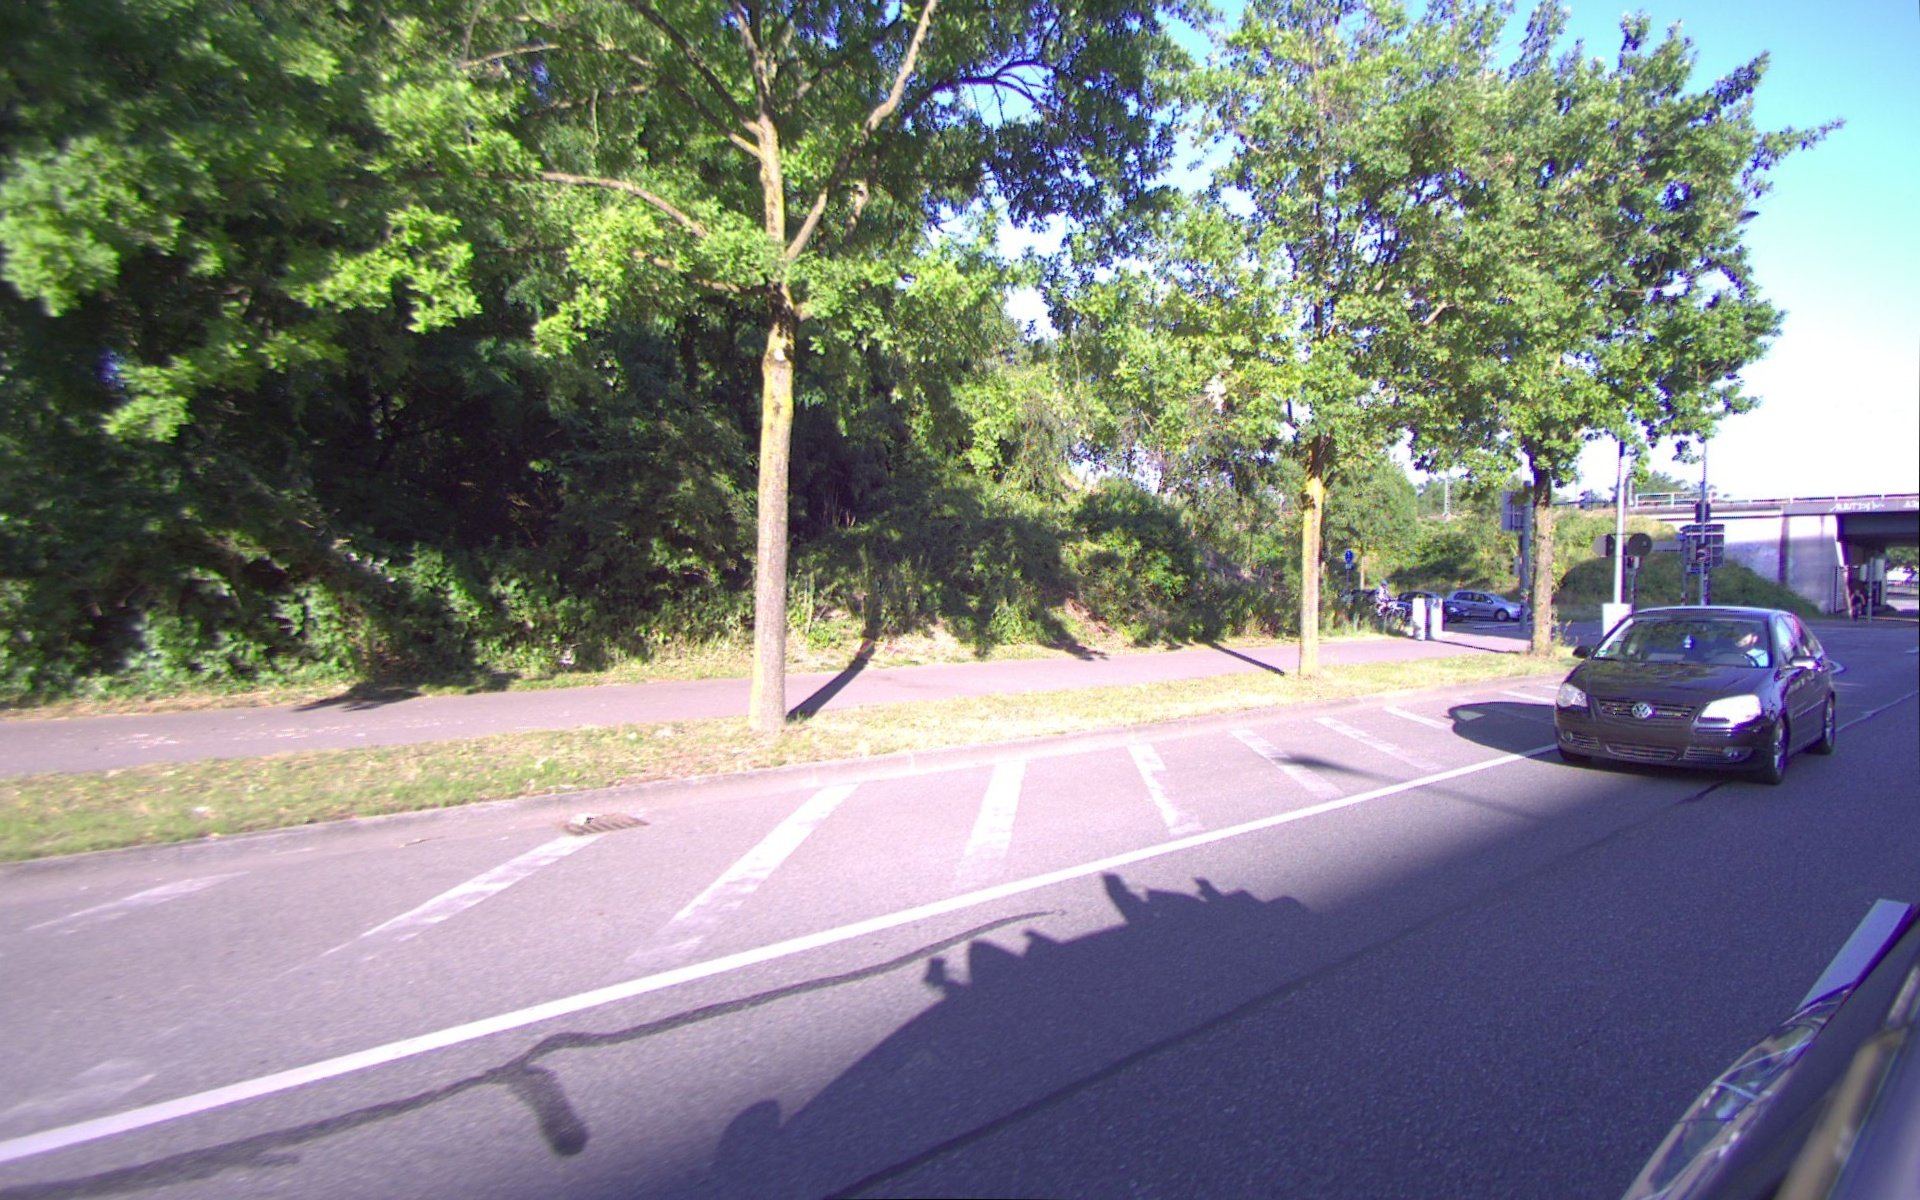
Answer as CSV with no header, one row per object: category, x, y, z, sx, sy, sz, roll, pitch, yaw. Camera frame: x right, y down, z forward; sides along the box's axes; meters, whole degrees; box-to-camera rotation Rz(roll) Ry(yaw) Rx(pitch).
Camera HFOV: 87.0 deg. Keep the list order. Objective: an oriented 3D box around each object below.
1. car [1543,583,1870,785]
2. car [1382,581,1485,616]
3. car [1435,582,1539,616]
car,7.240,0.638,9.660,4.141,1.518,1.724,0,0,-42
car,23.655,-0.098,50.693,1.896,1.537,4.290,0,2,-37
car,26.778,-0.095,51.529,1.896,1.537,4.290,0,2,-37
